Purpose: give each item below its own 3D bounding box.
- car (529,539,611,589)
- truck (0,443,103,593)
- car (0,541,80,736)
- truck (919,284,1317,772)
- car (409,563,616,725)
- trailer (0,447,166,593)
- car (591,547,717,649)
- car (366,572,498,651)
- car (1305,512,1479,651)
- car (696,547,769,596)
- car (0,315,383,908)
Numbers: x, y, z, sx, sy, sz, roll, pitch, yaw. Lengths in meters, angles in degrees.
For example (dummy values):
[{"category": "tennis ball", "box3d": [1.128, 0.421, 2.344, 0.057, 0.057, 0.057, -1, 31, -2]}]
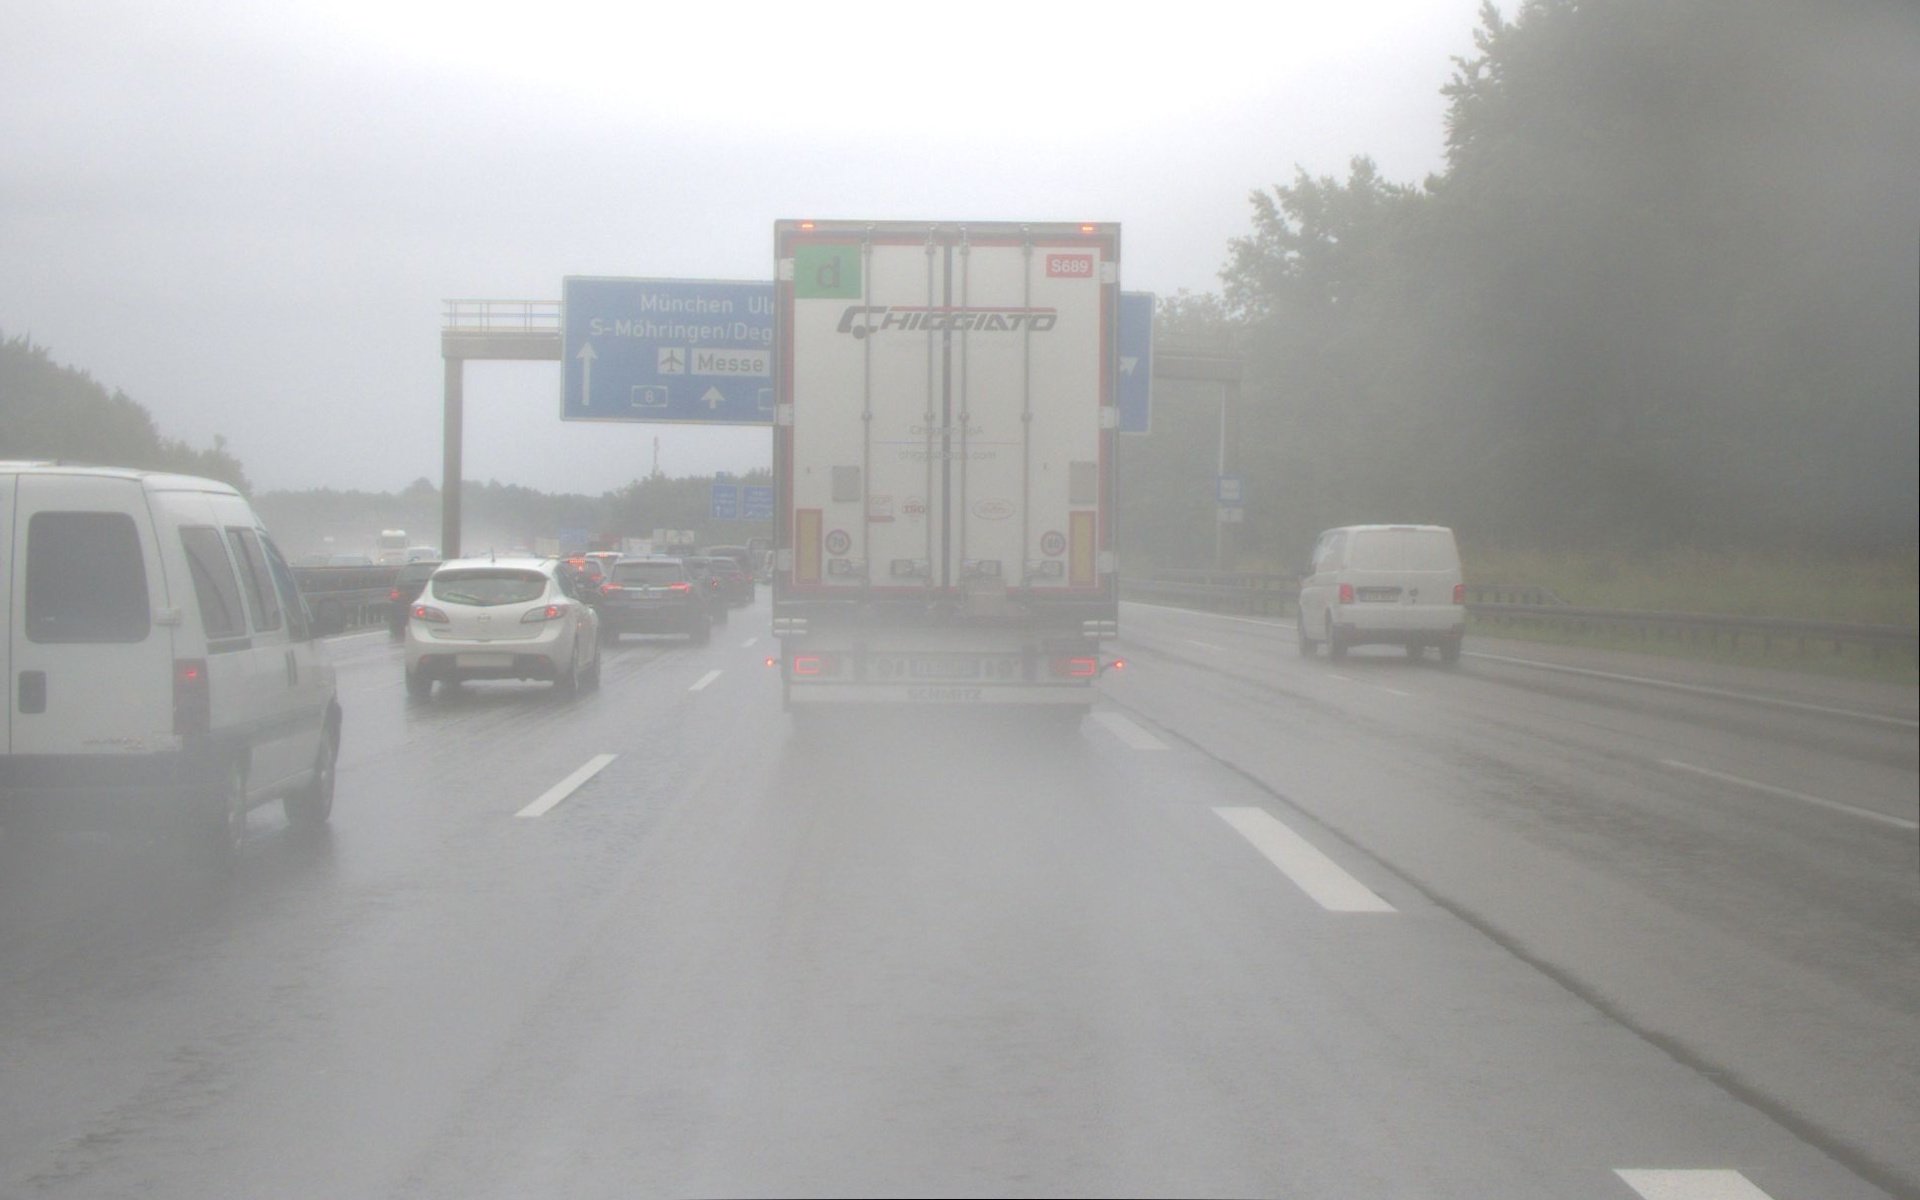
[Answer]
[{"category": "car", "box3d": [-10.817, -1.016, 95.644, 1.845, 1.326, 4.467, 1, 1, -1]}, {"category": "truck", "box3d": [-25.713, -2.251, 95.287, 2.540, 4.011, 6.325, 1, 1, -2]}, {"category": "car", "box3d": [-8.864, 0.314, 28.782, 1.845, 1.586, 4.467, 1, 1, 0]}, {"category": "truck", "box3d": [1.302, -0.593, 30.880, 2.872, 3.550, 11.302, 1, 1, 1]}, {"category": "car", "box3d": [-4.765, 0.427, 37.095, 1.845, 1.586, 4.072, 1, 1, -2]}, {"category": "trailer", "box3d": [-26.069, -2.316, 101.776, 2.540, 4.011, 13.853, 1, 1, -3]}, {"category": "car", "box3d": [-5.112, -0.063, 57.873, 1.845, 1.586, 4.467, 1, 1, -2]}, {"category": "car", "box3d": [-9.824, 0.194, 64.280, 1.845, 1.326, 4.467, 1, 1, -1]}, {"category": "car", "box3d": [6.282, -0.311, 50.464, 1.990, 1.914, 4.767, 1, 1, 1]}, {"category": "car", "box3d": [-6.480, -0.832, 98.246, 1.845, 1.326, 4.467, 1, 1, -1]}, {"category": "car", "box3d": [-4.392, -0.013, 17.435, 2.212, 2.564, 5.016, 1, 1, -2]}]
